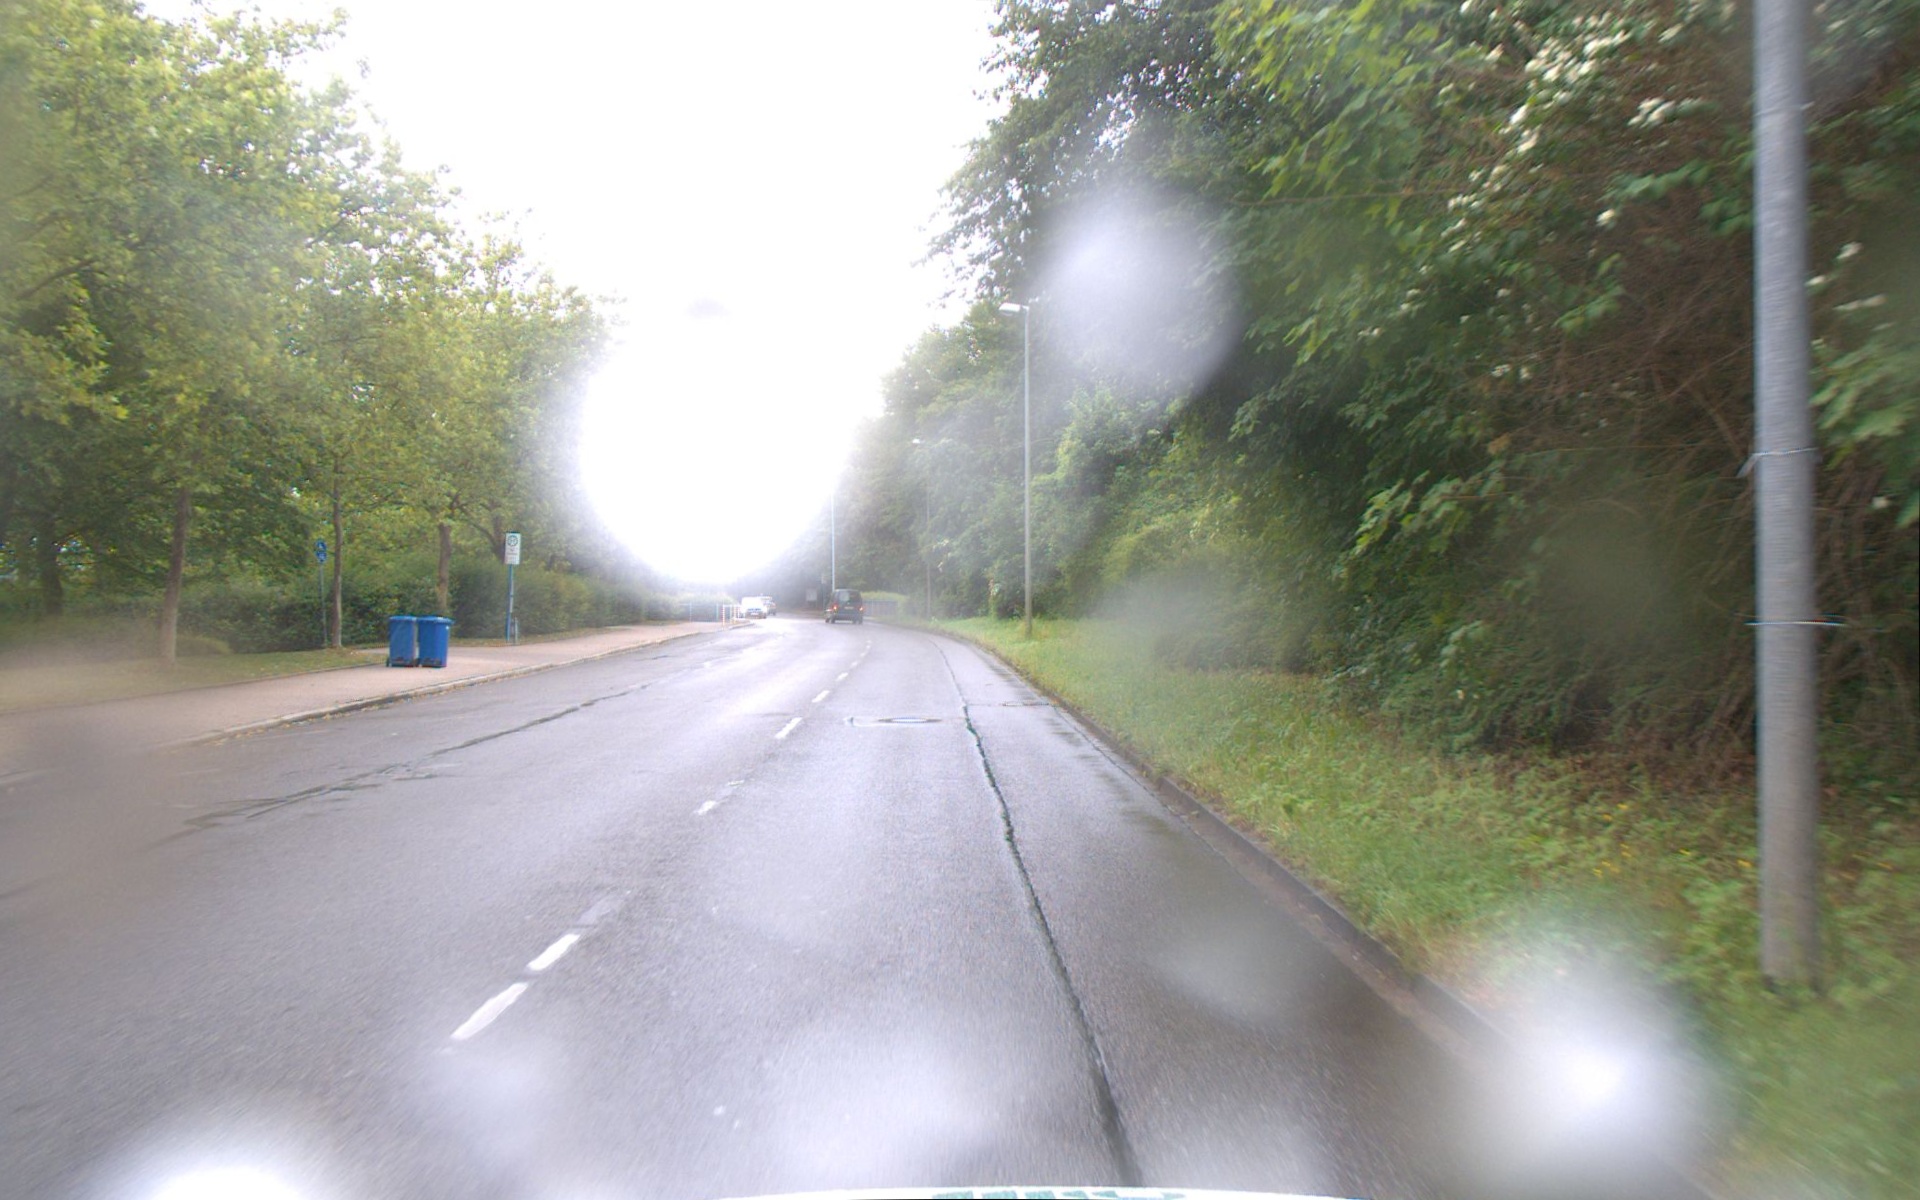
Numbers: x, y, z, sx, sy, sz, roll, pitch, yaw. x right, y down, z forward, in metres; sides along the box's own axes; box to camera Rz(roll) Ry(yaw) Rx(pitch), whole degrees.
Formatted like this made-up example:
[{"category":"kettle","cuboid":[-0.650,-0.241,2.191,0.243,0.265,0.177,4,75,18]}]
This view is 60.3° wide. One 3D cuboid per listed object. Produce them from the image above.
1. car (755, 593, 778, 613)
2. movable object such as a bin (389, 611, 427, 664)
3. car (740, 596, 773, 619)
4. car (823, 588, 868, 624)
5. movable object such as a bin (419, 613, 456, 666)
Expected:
[{"category":"car","cuboid":[-15.601,0.250,133.724,1.760,1.536,3.995,-2,1,-6]},{"category":"movable object such as a bin","cuboid":[-11.958,0.813,35.822,0.555,1.117,0.672,2,0,0]},{"category":"car","cuboid":[-13.799,0.486,111.820,1.795,1.490,3.986,-2,0,-13]},{"category":"car","cuboid":[-6.317,0.318,90.835,1.950,1.959,3.989,0,0,-11]},{"category":"movable object such as a bin","cuboid":[-11.371,0.851,36.011,0.555,1.117,0.672,2,0,0]}]
